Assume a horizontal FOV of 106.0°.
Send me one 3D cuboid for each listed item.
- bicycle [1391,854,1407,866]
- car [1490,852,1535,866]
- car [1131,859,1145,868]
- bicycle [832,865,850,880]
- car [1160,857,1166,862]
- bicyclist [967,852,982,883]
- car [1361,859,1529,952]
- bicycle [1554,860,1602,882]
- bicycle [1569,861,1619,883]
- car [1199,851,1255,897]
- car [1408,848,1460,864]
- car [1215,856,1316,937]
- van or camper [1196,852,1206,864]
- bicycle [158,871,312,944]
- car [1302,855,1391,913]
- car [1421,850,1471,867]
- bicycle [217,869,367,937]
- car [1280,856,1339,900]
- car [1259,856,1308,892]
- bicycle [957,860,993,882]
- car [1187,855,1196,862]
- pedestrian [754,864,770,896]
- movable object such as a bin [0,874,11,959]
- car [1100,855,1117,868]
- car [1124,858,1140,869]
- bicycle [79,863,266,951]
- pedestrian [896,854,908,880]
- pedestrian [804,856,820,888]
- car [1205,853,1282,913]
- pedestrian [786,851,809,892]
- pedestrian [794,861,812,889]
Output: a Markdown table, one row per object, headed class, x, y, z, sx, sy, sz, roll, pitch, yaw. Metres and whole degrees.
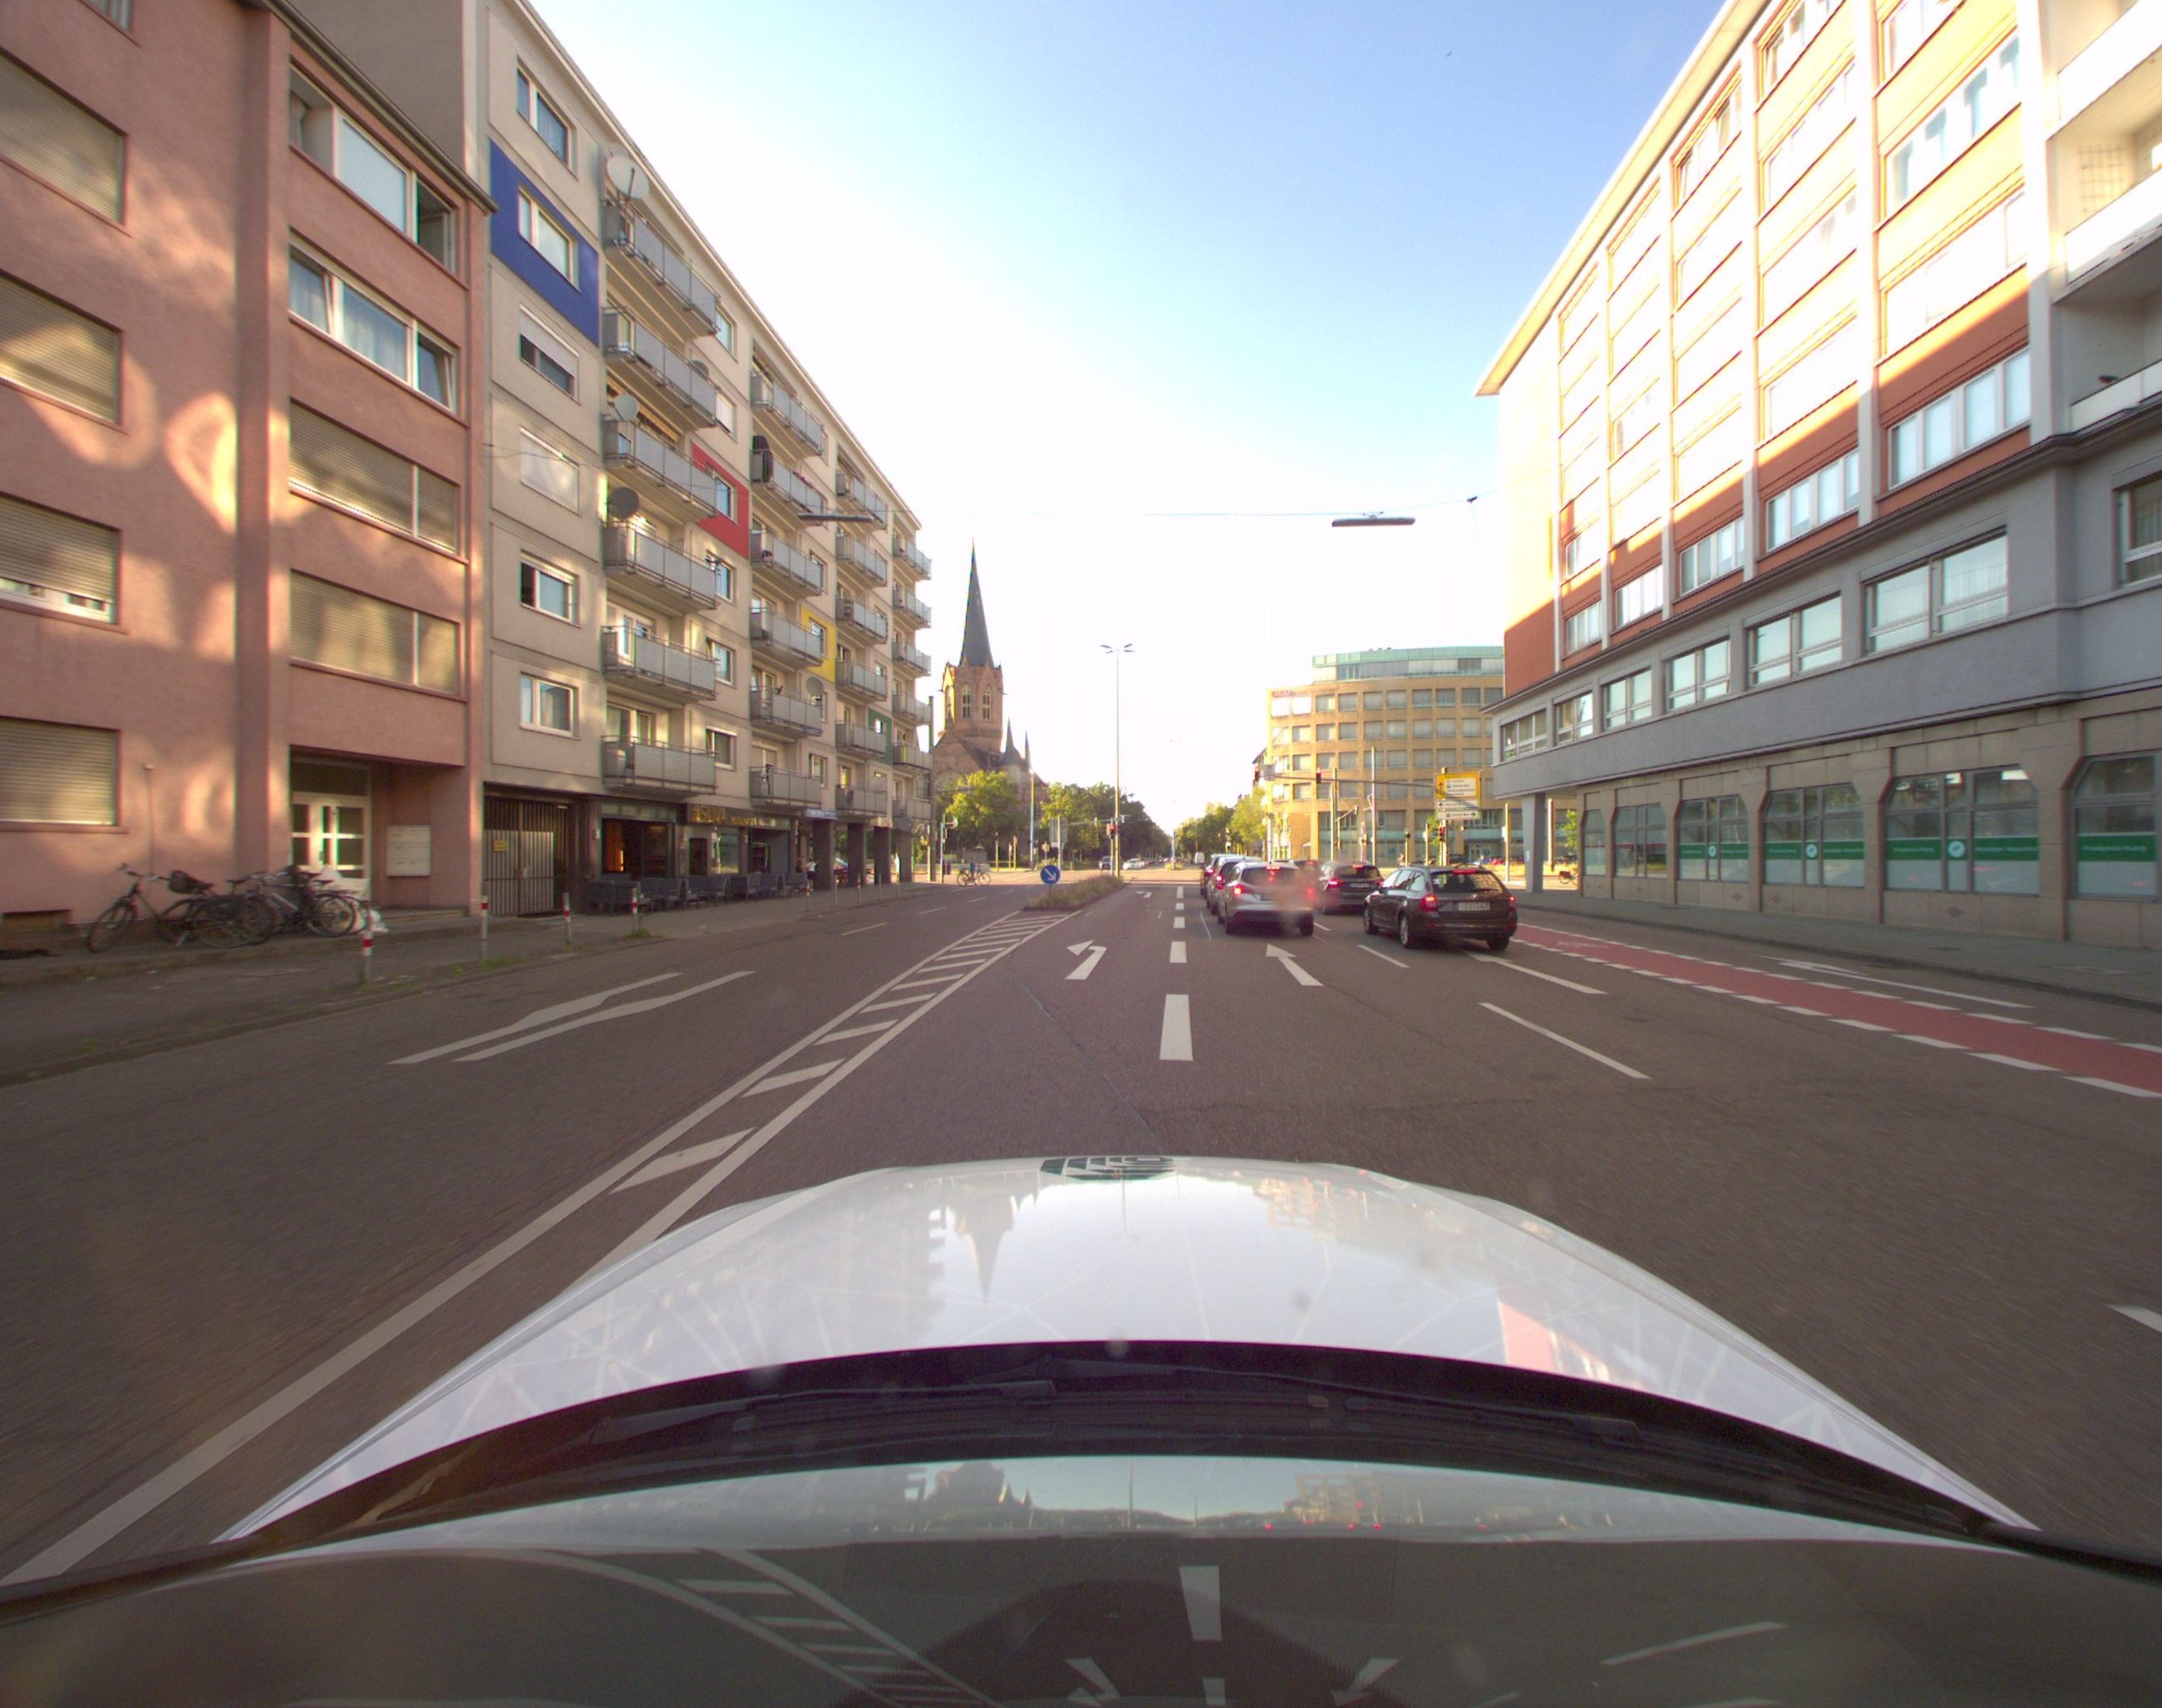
| class | x | y | z | sx | sy | sz | roll | pitch | yaw |
| --- | --- | --- | --- | --- | --- | --- | --- | --- | --- |
| bicycle | 34.148 | 0.645 | 87.398 | 1.509 | 1.172 | 0.477 | -1 | 0 | 13 |
| car | 42.856 | 0.509 | 80.952 | 3.589 | 1.342 | 1.725 | 0 | 0 | 7 |
| car | 8.097 | 1.288 | 116.157 | 1.770 | 1.236 | 4.008 | 0 | 0 | 7 |
| bicycle | -15.416 | 1.164 | 52.320 | 0.494 | 0.907 | 1.706 | 0 | 0 | 6 |
| car | 24.376 | 1.721 | 241.576 | 1.770 | 1.449 | 4.008 | 0 | 0 | 7 |
| bicyclist | -5.872 | 0.734 | 45.058 | 0.781 | 1.660 | 0.899 | -1 | 0 | -6 |
| car | 6.589 | 0.852 | 15.253 | 1.698 | 1.457 | 4.166 | -1 | 0 | 7 |
| bicycle | 26.818 | 0.927 | 43.984 | 2.076 | 1.116 | 0.744 | -1 | 0 | 5 |
| bicycle | 26.729 | 0.927 | 42.431 | 2.076 | 1.116 | 0.744 | -1 | 0 | 5 |
| car | 5.546 | 0.718 | 31.335 | 1.775 | 1.632 | 4.486 | 0 | 0 | 6 |
| car | 36.827 | 0.237 | 84.971 | 4.626 | 1.598 | 2.002 | 0 | 0 | 4 |
| car | 3.901 | 0.812 | 17.797 | 1.698 | 1.510 | 4.317 | 1 | 0 | 7 |
| van or camper | 26.562 | 0.851 | 180.325 | 1.982 | 2.640 | 5.362 | 0 | 0 | 8 |
| bicycle | -12.574 | 0.788 | 12.131 | 1.664 | 1.041 | 0.549 | 1 | -1 | -1 |
| car | 7.611 | 0.797 | 23.703 | 1.642 | 1.484 | 4.247 | 1 | 0 | 7 |
| car | 36.609 | 0.447 | 81.740 | 4.205 | 1.614 | 2.005 | 0 | 0 | 8 |
| bicycle | -12.518 | 0.773 | 12.960 | 1.669 | 1.041 | 0.548 | 1 | -1 | -9 |
| car | 8.330 | 0.828 | 29.890 | 1.482 | 1.505 | 3.484 | 0 | 0 | 5 |
| car | 8.695 | 0.811 | 35.207 | 1.576 | 1.446 | 3.654 | 1 | 0 | 6 |
| bicycle | -5.834 | 0.954 | 44.939 | 1.818 | 1.188 | 0.735 | 0 | 0 | 5 |
| car | 28.692 | 1.149 | 211.434 | 1.985 | 1.592 | 4.004 | 0 | 0 | 3 |
| pedestrian | -12.066 | 0.971 | 30.805 | 0.524 | 1.203 | 0.548 | 0 | 0 | -25 |
| movable object such as a bin | -13.537 | 0.763 | 9.759 | 0.671 | 1.032 | 0.590 | 0 | 0 | 6 |
| car | 3.456 | 0.957 | 103.269 | 1.770 | 1.647 | 4.008 | 0 | 0 | 7 |
| car | 6.390 | 1.187 | 102.398 | 1.770 | 1.236 | 4.008 | 0 | 0 | 7 |
| bicycle | -12.569 | 0.721 | 11.320 | 1.675 | 1.160 | 0.493 | 1 | -1 | -20 |
| pedestrian | -11.304 | 0.835 | 51.337 | 0.463 | 1.642 | 0.580 | -1 | 0 | 26 |
| pedestrian | -11.613 | 0.785 | 35.176 | 0.479 | 1.384 | 0.484 | 0 | 0 | 27 |
| car | 4.570 | 0.773 | 23.292 | 1.795 | 1.568 | 3.624 | -1 | 0 | 5 |
| pedestrian | -12.021 | 0.728 | 34.507 | 0.784 | 1.701 | 0.554 | 0 | 0 | -40 |
| pedestrian | -12.514 | 0.923 | 36.689 | 0.551 | 1.239 | 0.533 | -1 | 0 | 21 |
